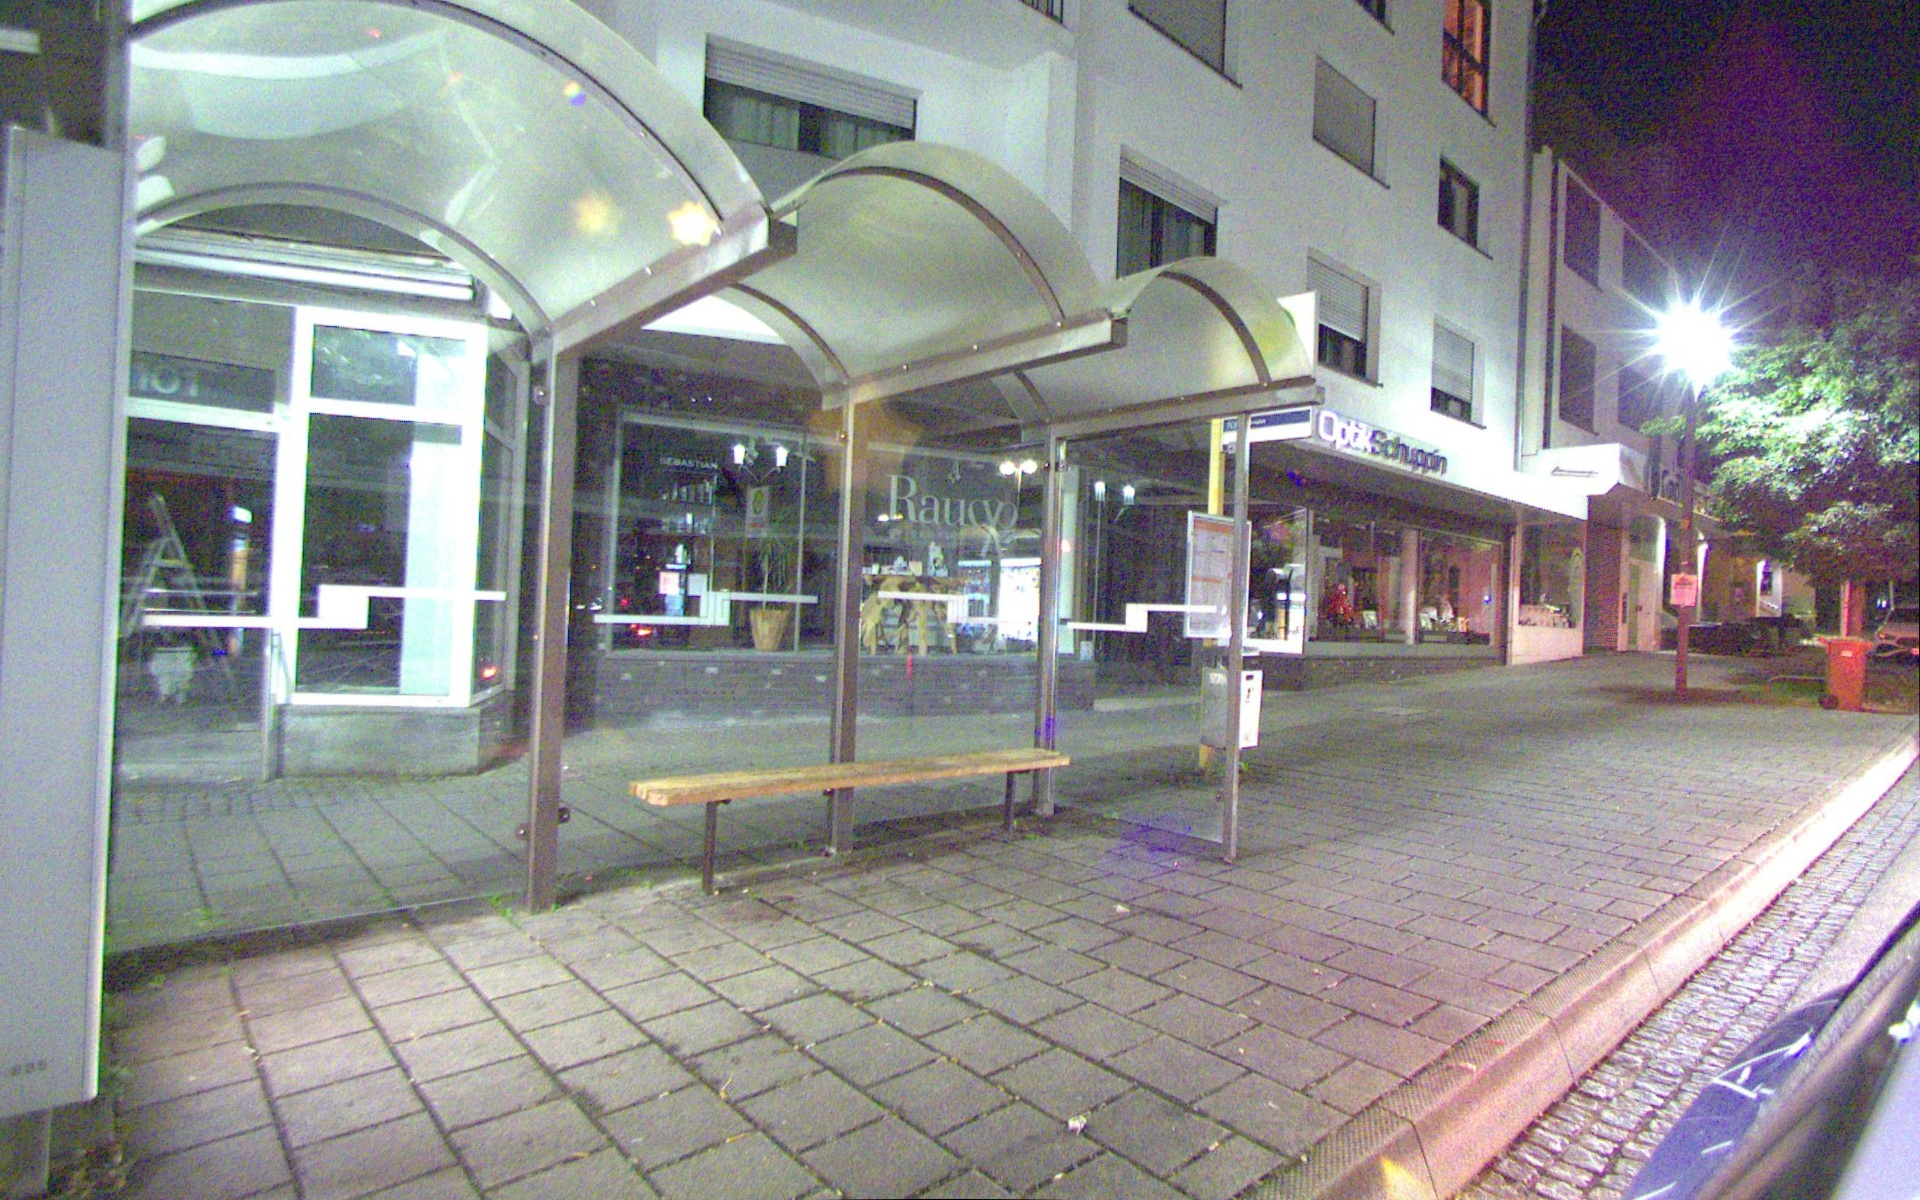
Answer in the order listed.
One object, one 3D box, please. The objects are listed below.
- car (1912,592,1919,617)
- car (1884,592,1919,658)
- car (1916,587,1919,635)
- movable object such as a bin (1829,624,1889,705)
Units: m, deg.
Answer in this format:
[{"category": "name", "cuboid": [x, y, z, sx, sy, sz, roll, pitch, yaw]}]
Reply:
[{"category": "car", "cuboid": [59.720, 0.257, 62.269, 1.638, 1.485, 3.717, -1, 0, 43]}, {"category": "car", "cuboid": [23.766, 0.594, 24.448, 4.519, 1.459, 1.859, -1, 3, -45]}, {"category": "car", "cuboid": [35.226, 0.409, 35.895, 1.788, 1.661, 4.309, 4, 3, 44]}, {"category": "movable object such as a bin", "cuboid": [11.347, 0.799, 12.792, 0.523, 0.949, 0.621, 0, 1, 38]}]
